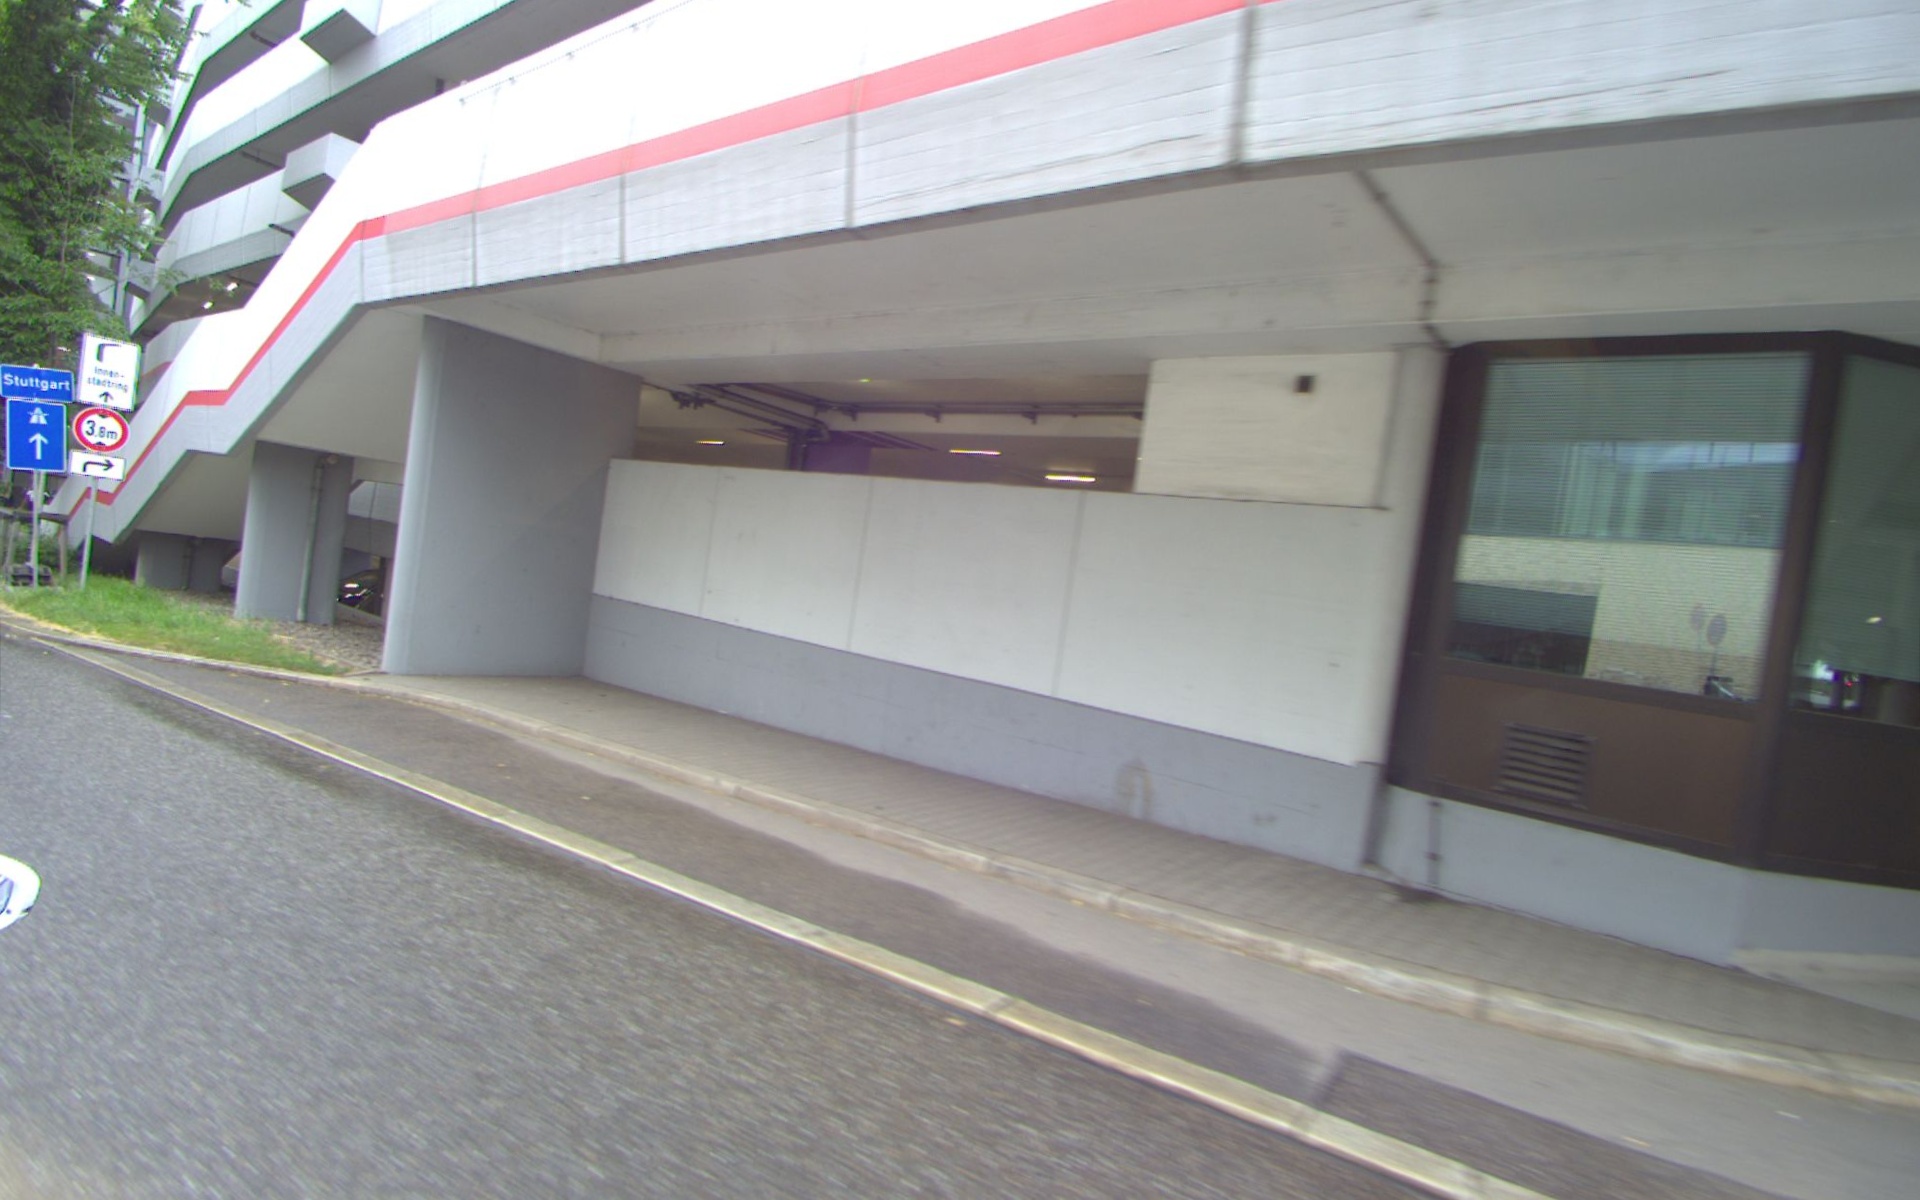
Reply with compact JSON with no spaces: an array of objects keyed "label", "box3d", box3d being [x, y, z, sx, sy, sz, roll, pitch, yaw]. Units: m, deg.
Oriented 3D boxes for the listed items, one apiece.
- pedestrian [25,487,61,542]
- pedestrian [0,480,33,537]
[{"label":"pedestrian","box3d":[-27.227,-2.541,29.877,0.496,1.519,0.582,6,-1,39]},{"label":"pedestrian","box3d":[-27.641,-2.677,29.446,0.481,1.550,0.551,6,-1,39]}]
